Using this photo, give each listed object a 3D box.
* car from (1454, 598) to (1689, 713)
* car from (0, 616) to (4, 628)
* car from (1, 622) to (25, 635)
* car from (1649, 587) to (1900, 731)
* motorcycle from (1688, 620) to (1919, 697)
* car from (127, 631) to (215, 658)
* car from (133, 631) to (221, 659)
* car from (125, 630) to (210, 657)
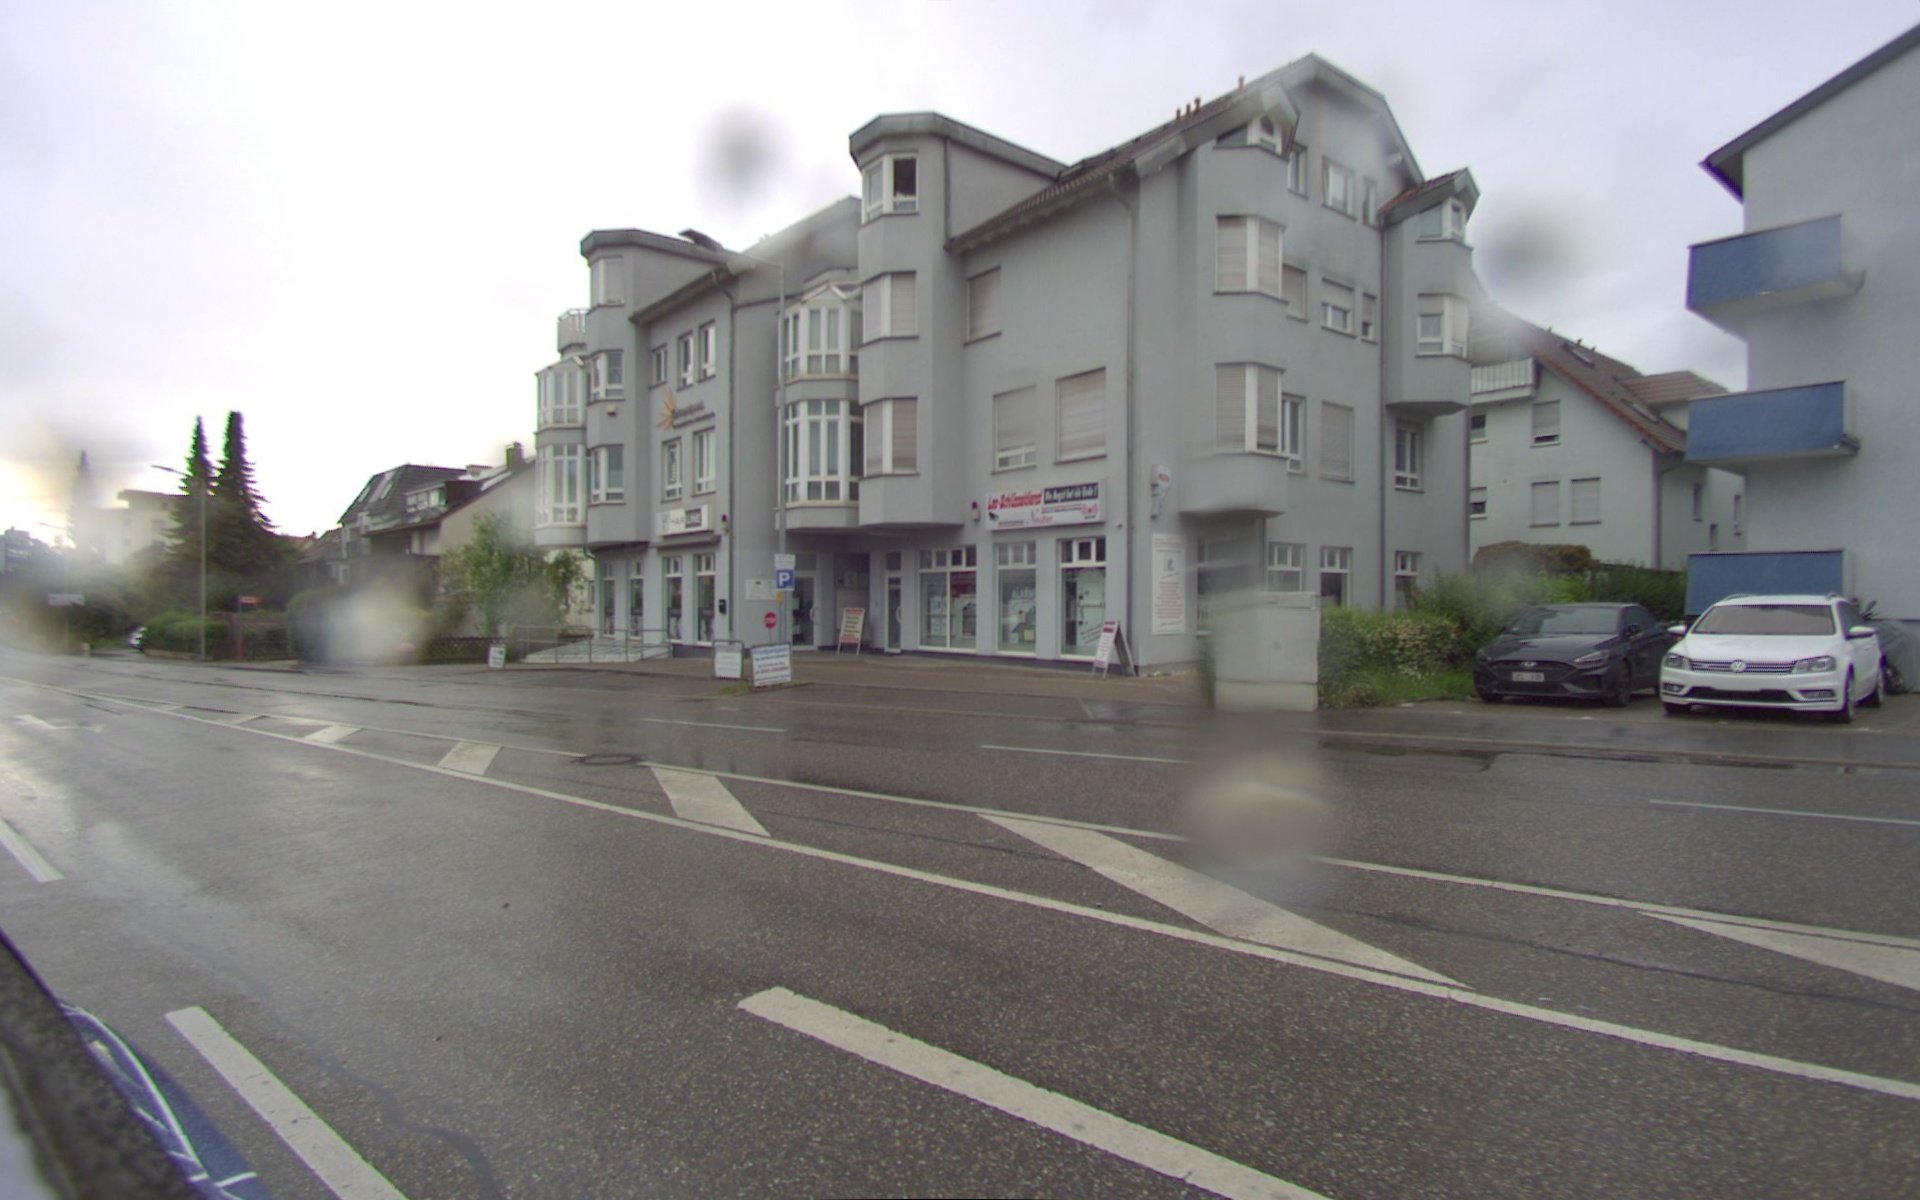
[{"bbox_3d":[8.854,0.718,14.523,3.940,1.421,1.906,0,-2,-44],"label":"car"},{"bbox_3d":[-146.918,3.340,153.987,1.824,1.777,4.128,1,-2,-39],"label":"car"},{"bbox_3d":[-122.274,3.634,130.690,1.968,1.628,4.007,1,-2,-39],"label":"car"},{"bbox_3d":[10.250,0.642,12.619,4.170,1.485,1.906,0,-2,-44],"label":"car"},{"bbox_3d":[13.193,0.888,15.534,3.111,1.108,0.869,-2,-1,24],"label":"motorcycle"},{"bbox_3d":[-48.504,2.729,62.243,4.097,1.453,1.892,-1,-1,-43],"label":"car"},{"bbox_3d":[-46.656,2.649,60.372,3.979,1.453,1.814,-1,-1,-44],"label":"car"},{"bbox_3d":[-50.322,2.730,64.302,4.058,1.557,2.001,-1,-1,-44],"label":"car"}]
